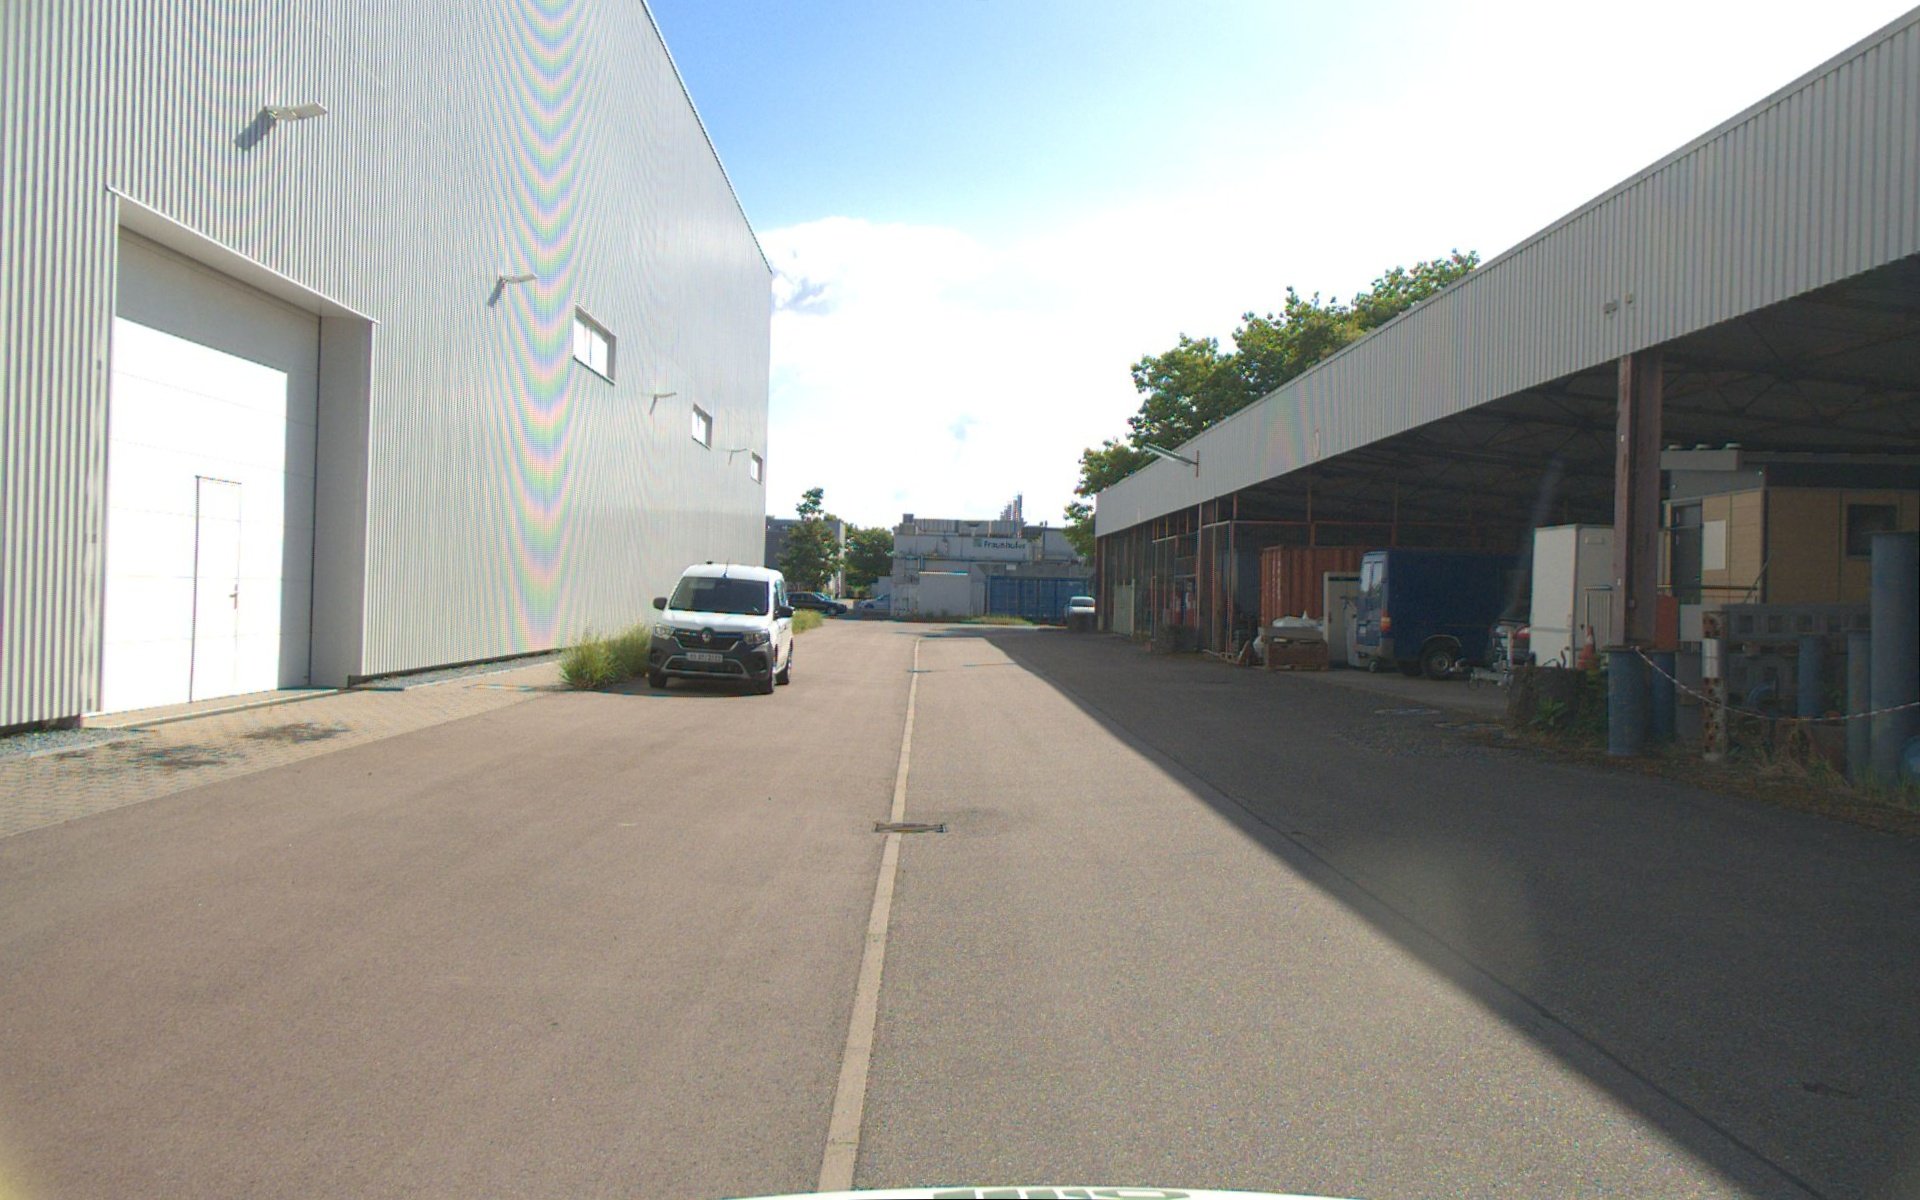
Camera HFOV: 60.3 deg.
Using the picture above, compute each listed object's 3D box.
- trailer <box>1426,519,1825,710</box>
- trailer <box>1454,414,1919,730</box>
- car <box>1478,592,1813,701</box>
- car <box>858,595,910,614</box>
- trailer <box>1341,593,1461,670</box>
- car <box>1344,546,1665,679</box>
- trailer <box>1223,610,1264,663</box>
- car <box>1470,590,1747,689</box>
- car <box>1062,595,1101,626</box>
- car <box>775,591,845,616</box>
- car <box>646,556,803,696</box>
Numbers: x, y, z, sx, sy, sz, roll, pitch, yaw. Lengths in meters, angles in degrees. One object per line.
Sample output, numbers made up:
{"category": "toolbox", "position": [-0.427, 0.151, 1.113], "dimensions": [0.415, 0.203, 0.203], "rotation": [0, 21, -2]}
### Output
{"category": "trailer", "position": [8.635, 0.183, 21.768], "dimensions": [4.424, 2.383, 2.047], "rotation": [0, -1, -1]}
{"category": "trailer", "position": [11.213, -0.319, 19.342], "dimensions": [10.059, 3.401, 2.800], "rotation": [0, 0, -1]}
{"category": "car", "position": [10.022, 0.657, 24.361], "dimensions": [4.164, 1.497, 1.868], "rotation": [1, 0, -5]}
{"category": "car", "position": [-6.166, 0.387, 134.819], "dimensions": [4.216, 1.483, 1.823], "rotation": [0, 0, -2]}
{"category": "trailer", "position": [8.810, 0.620, 33.181], "dimensions": [1.996, 1.492, 1.739], "rotation": [0, 0, 3]}
{"category": "car", "position": [9.973, 0.232, 30.601], "dimensions": [5.225, 2.321, 2.152], "rotation": [1, -1, -2]}
{"category": "trailer", "position": [6.203, 0.781, 36.220], "dimensions": [0.541, 1.138, 1.546], "rotation": [0, 0, -3]}
{"category": "car", "position": [10.707, 0.647, 27.465], "dimensions": [3.886, 1.540, 1.838], "rotation": [1, -1, -5]}
{"category": "car", "position": [6.943, 0.593, 94.817], "dimensions": [1.939, 1.630, 4.377], "rotation": [0, 1, 0]}
{"category": "car", "position": [-9.671, 0.223, 106.827], "dimensions": [4.358, 1.558, 1.823], "rotation": [0, 0, -2]}
{"category": "car", "position": [-3.455, 0.373, 25.033], "dimensions": [1.747, 1.847, 4.600], "rotation": [3, 0, -1]}
